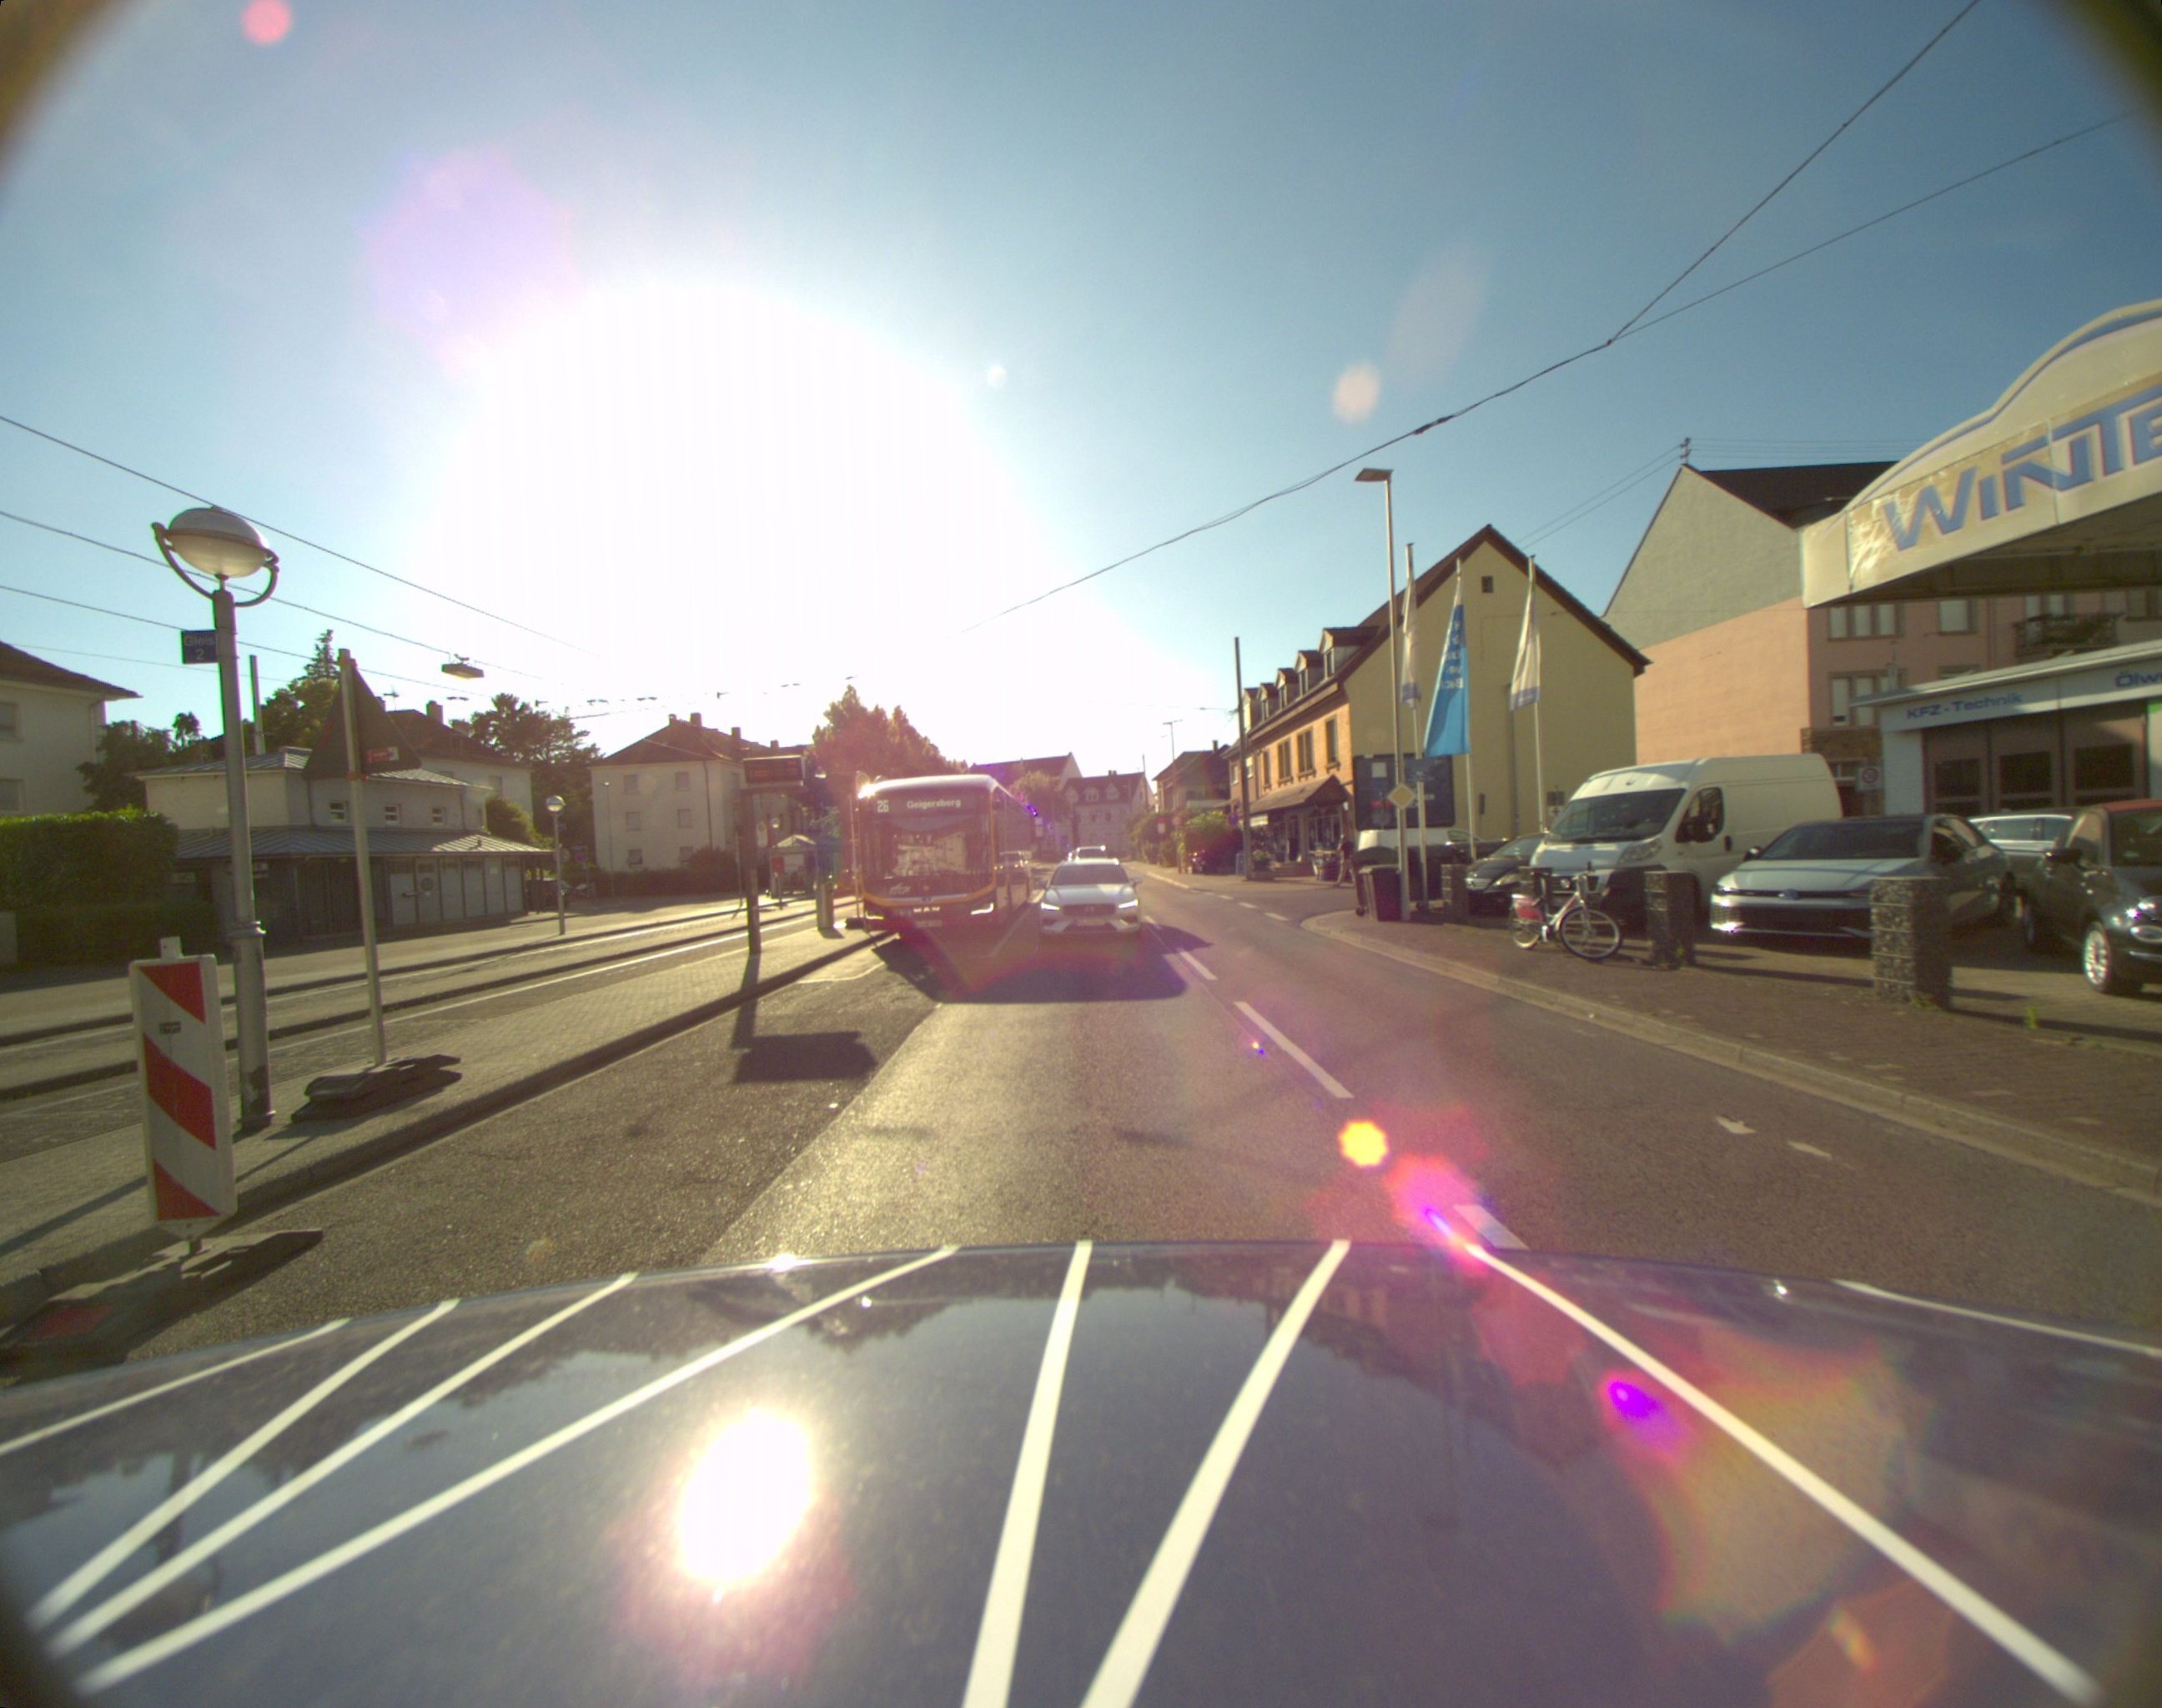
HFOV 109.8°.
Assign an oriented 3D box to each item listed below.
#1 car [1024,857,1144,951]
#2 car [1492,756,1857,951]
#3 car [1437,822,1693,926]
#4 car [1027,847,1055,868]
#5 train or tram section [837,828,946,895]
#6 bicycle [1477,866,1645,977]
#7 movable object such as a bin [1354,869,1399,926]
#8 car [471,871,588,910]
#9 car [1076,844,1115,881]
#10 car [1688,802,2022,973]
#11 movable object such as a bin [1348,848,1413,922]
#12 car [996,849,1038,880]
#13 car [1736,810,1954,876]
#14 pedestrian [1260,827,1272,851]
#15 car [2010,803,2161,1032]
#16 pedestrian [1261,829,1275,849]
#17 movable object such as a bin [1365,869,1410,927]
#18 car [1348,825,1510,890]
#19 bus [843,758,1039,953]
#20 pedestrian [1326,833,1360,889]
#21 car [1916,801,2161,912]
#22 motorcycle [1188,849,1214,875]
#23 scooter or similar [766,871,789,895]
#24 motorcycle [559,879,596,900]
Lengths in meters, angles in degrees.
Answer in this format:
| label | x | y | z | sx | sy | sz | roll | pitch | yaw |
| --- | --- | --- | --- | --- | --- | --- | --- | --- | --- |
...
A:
| label | x | y | z | sx | sy | sz | roll | pitch | yaw |
| --- | --- | --- | --- | --- | --- | --- | --- | --- | --- |
| car | 0.193 | 0.868 | 15.216 | 1.998 | 1.454 | 4.450 | -3 | 0 | 4 |
| car | 9.179 | -0.110 | 11.751 | 5.076 | 2.455 | 2.105 | -4 | 1 | -22 |
| car | 9.102 | 0.343 | 14.385 | 4.001 | 1.559 | 1.771 | -4 | 0 | -14 |
| car | -3.283 | 0.268 | 63.354 | 1.998 | 1.664 | 4.000 | -2 | 0 | 1 |
| train or tram section | -11.662 | 0.182 | 49.048 | 2.965 | 3.514 | 15.964 | -2 | 2 | 0 |
| bicycle | 5.836 | 0.766 | 9.373 | 0.725 | 1.171 | 1.779 | -3 | 1 | -9 |
| movable object such as a bin | 5.871 | 0.855 | 15.125 | 0.661 | 1.056 | 0.585 | -5 | -1 | 12 |
| car | -27.734 | 1.818 | 38.298 | 4.448 | 1.759 | 2.000 | -2 | 1 | 4 |
| car | 0.783 | 0.448 | 44.420 | 1.871 | 1.922 | 4.791 | -4 | 0 | -2 |
| car | 9.359 | 0.291 | 9.142 | 4.005 | 1.559 | 1.769 | -4 | 0 | -29 |
| movable object such as a bin | 6.377 | 0.652 | 16.153 | 1.055 | 1.473 | 1.315 | -4 | -2 | 28 |
| car | -3.712 | 0.602 | 44.427 | 1.998 | 1.664 | 4.000 | -2 | 0 | 1 |
| car | 21.142 | -0.340 | 21.173 | 3.997 | 1.517 | 1.998 | -3 | 5 | 0 |
| pedestrian | 10.108 | -0.825 | 41.544 | 0.524 | 1.251 | 0.465 | -3 | 1 | 1 |
| car | 9.106 | 0.374 | 6.121 | 1.617 | 1.559 | 3.400 | -2 | 1 | 43 |
| pedestrian | 9.922 | -0.782 | 40.309 | 0.525 | 1.041 | 0.383 | -3 | 1 | -16 |
| movable object such as a bin | 5.845 | 0.842 | 14.522 | 0.641 | 1.063 | 0.581 | -3 | -2 | 12 |
| car | 11.874 | 0.099 | 26.116 | 4.627 | 1.922 | 1.999 | -3 | 1 | -2 |
| bus | -2.860 | -0.015 | 19.755 | 2.695 | 3.396 | 12.017 | -3 | 0 | 0 |
| pedestrian | 8.907 | 0.240 | 25.862 | 0.819 | 1.857 | 0.795 | -3 | 1 | -1 |
| car | 16.356 | -0.001 | 11.870 | 1.772 | 1.559 | 4.315 | -4 | 0 | -1 |
| motorcycle | 6.322 | 0.384 | 40.184 | 0.841 | 1.275 | 2.231 | -4 | 1 | -3 |
| scooter or similar | -16.104 | 1.517 | 40.310 | 0.467 | 1.201 | 1.210 | -2 | 1 | 11 |
| motorcycle | -31.093 | 2.167 | 46.901 | 1.826 | 1.155 | 0.558 | -3 | 1 | -3 |
